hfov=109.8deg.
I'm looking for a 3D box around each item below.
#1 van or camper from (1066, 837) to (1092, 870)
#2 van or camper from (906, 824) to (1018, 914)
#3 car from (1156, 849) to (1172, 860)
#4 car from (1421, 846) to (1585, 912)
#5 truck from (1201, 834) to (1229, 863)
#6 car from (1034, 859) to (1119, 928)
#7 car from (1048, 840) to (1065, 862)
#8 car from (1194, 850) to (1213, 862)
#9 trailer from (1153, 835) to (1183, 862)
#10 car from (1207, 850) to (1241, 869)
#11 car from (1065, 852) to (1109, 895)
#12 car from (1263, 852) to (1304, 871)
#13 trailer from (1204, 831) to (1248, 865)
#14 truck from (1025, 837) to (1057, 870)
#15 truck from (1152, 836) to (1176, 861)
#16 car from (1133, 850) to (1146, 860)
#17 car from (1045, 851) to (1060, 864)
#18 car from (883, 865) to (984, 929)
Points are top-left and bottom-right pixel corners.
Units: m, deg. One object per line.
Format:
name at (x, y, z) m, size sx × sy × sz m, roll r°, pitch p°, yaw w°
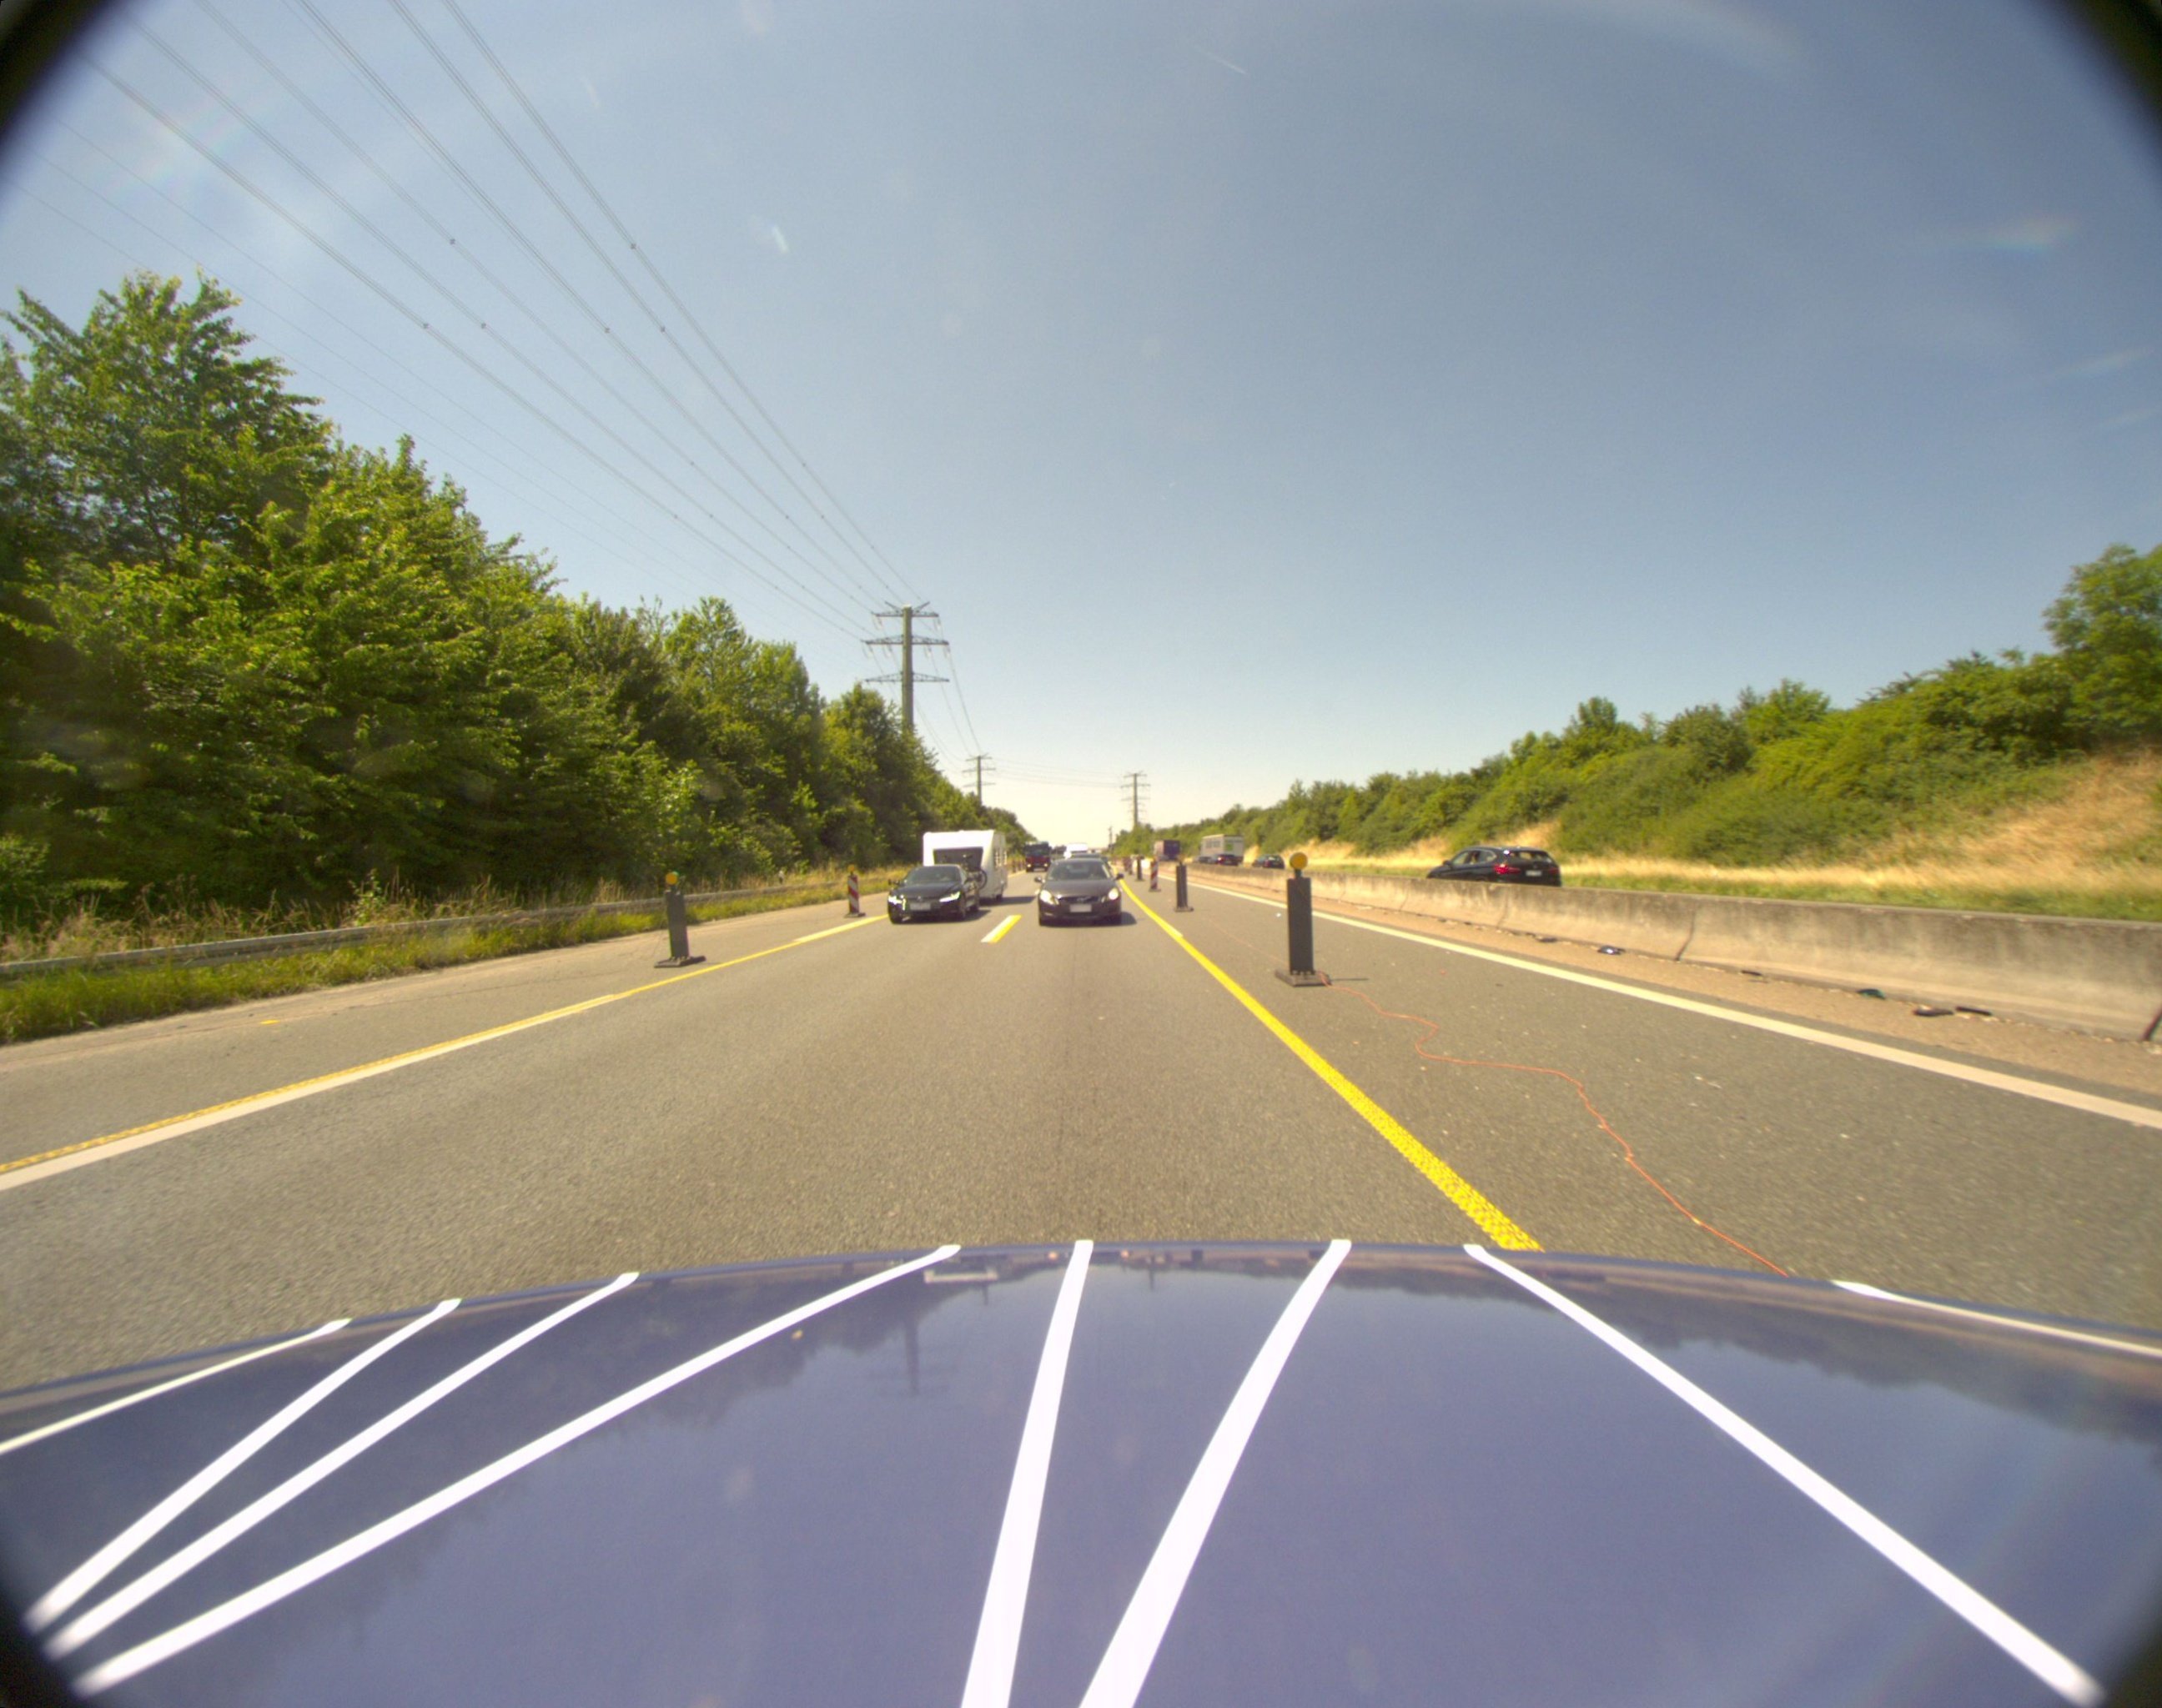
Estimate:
van or camper at (-0.123, -0.024, 63.793) m, size 1.998 × 2.604 × 5.629 m, roll 0°, pitch 0°, yaw 1°
van or camper at (-3.860, 0.429, 26.571) m, size 2.432 × 2.549 × 8.417 m, roll -2°, pitch 0°, yaw 0°
car at (10.882, 0.070, 100.000) m, size 1.620 × 1.433 × 3.989 m, roll -1°, pitch 0°, yaw -1°
car at (11.317, 0.604, 20.812) m, size 1.998 × 1.591 × 4.582 m, roll -1°, pitch 0°, yaw 1°
truck at (18.798, -0.728, 107.186) m, size 2.953 × 4.053 × 5.195 m, roll 0°, pitch 0°, yaw -1°
car at (0.002, 0.895, 18.860) m, size 1.798 × 1.433 × 4.001 m, roll -2°, pitch 0°, yaw 3°
car at (-4.579, -0.605, 142.095) m, size 2.397 × 3.779 × 10.273 m, roll -3°, pitch 0°, yaw 1°
car at (14.921, 0.229, 92.559) m, size 1.507 × 1.388 × 4.088 m, roll -1°, pitch 0°, yaw -2°
trailer at (14.337, -0.861, 125.800) m, size 3.168 × 4.155 × 13.682 m, roll -1°, pitch 0°, yaw -1°
car at (11.339, 0.392, 60.585) m, size 1.853 × 1.452 × 4.488 m, roll 0°, pitch 0°, yaw 0°
car at (0.330, 0.788, 32.662) m, size 1.675 × 1.619 × 4.691 m, roll -3°, pitch 0°, yaw 2°
car at (15.919, 0.575, 59.925) m, size 1.999 × 1.452 × 4.586 m, roll 0°, pitch 0°, yaw -1°
trailer at (18.885, -0.738, 99.946) m, size 2.961 × 4.038 × 13.636 m, roll 1°, pitch 0°, yaw -1°
truck at (-4.097, -0.088, 79.508) m, size 2.431 × 3.122 × 7.648 m, roll -4°, pitch 0°, yaw 2°
truck at (14.282, -0.899, 131.690) m, size 3.172 × 4.200 × 7.414 m, roll -1°, pitch 0°, yaw -1°
car at (10.346, 0.180, 134.626) m, size 1.846 × 1.704 × 4.395 m, roll 0°, pitch 0°, yaw -1°
car at (-3.970, 0.465, 105.484) m, size 1.850 × 1.810 × 3.926 m, roll -3°, pitch 0°, yaw 1°
car at (-3.792, 1.065, 20.252) m, size 1.800 × 1.399 × 4.209 m, roll -2°, pitch 0°, yaw 0°
